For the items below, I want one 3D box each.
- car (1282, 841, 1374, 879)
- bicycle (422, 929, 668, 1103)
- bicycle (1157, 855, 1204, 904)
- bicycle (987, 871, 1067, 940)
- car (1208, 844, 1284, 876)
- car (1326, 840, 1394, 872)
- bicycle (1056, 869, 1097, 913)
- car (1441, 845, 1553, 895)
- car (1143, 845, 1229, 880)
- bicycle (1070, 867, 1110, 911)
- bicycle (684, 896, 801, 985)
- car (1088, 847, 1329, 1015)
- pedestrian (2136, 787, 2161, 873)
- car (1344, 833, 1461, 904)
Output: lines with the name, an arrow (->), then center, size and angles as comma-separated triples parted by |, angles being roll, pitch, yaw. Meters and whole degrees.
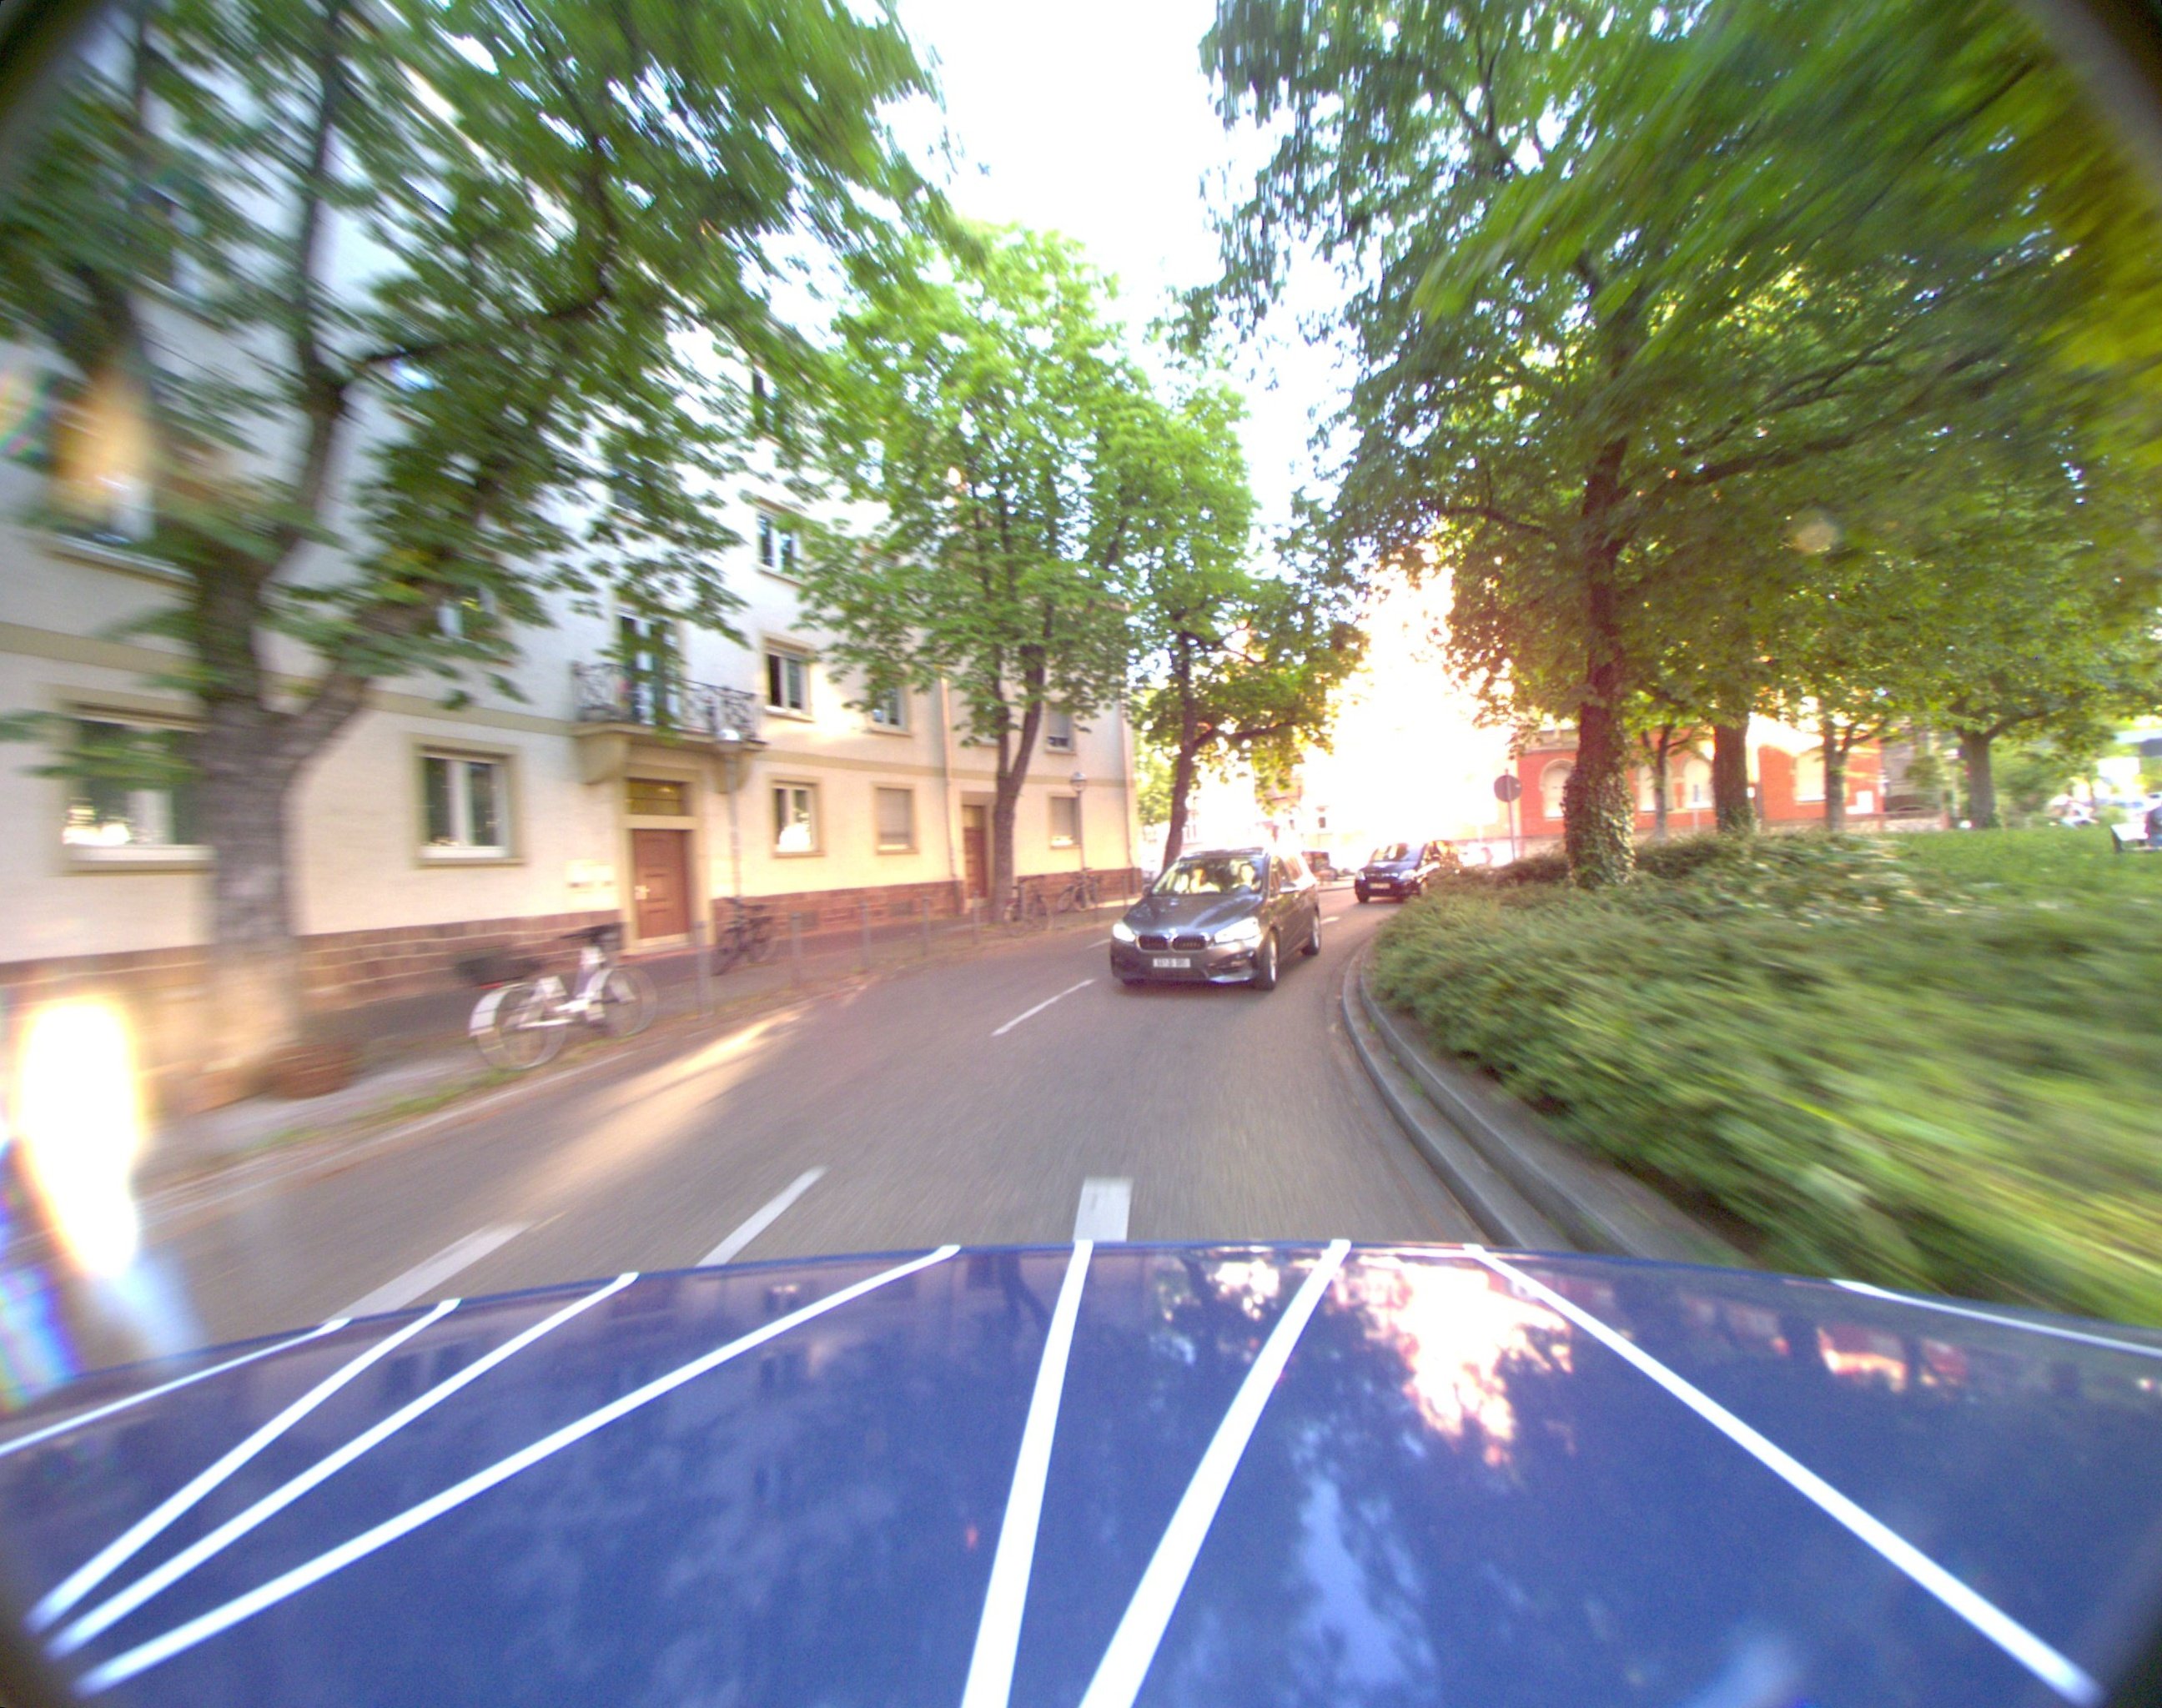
car -> 11.338, 0.312, 35.198 | 1.698, 1.543, 4.045 | -3, -1, -25
bicycle -> -4.545, 1.311, 6.658 | 0.514, 1.089, 1.975 | -2, 0, 8
bicycle -> 2.940, 0.720, 22.310 | 0.766, 1.297, 1.906 | -3, 0, 25
bicycle -> -1.057, 1.018, 15.432 | 0.718, 1.216, 1.917 | -3, 0, 25
car -> 8.925, 0.338, 41.331 | 1.808, 1.543, 4.178 | -3, -1, -25
car -> 14.664, 0.118, 40.042 | 1.494, 1.531, 3.209 | -3, 0, -25
bicycle -> -0.114, 1.008, 21.051 | 0.334, 1.087, 1.639 | -4, 0, 27
car -> 13.865, 0.503, 25.288 | 3.693, 1.400, 1.677 | -3, 1, -32
car -> 5.104, 0.412, 36.870 | 3.809, 1.417, 1.673 | -4, 0, -28
bicycle -> 0.258, 0.953, 21.032 | 0.334, 1.087, 1.639 | -4, 0, 27
bicycle -> -5.114, 1.266, 11.642 | 0.802, 1.112, 1.859 | -4, 0, 4
car -> 1.875, 0.781, 9.750 | 1.790, 1.569, 4.267 | -3, 0, 27
pedestrian -> 18.430, -0.428, 12.784 | 0.601, 1.435, 0.709 | -5, 1, -39
car -> 8.451, 0.342, 19.834 | 1.676, 1.619, 3.695 | -3, 0, 41
